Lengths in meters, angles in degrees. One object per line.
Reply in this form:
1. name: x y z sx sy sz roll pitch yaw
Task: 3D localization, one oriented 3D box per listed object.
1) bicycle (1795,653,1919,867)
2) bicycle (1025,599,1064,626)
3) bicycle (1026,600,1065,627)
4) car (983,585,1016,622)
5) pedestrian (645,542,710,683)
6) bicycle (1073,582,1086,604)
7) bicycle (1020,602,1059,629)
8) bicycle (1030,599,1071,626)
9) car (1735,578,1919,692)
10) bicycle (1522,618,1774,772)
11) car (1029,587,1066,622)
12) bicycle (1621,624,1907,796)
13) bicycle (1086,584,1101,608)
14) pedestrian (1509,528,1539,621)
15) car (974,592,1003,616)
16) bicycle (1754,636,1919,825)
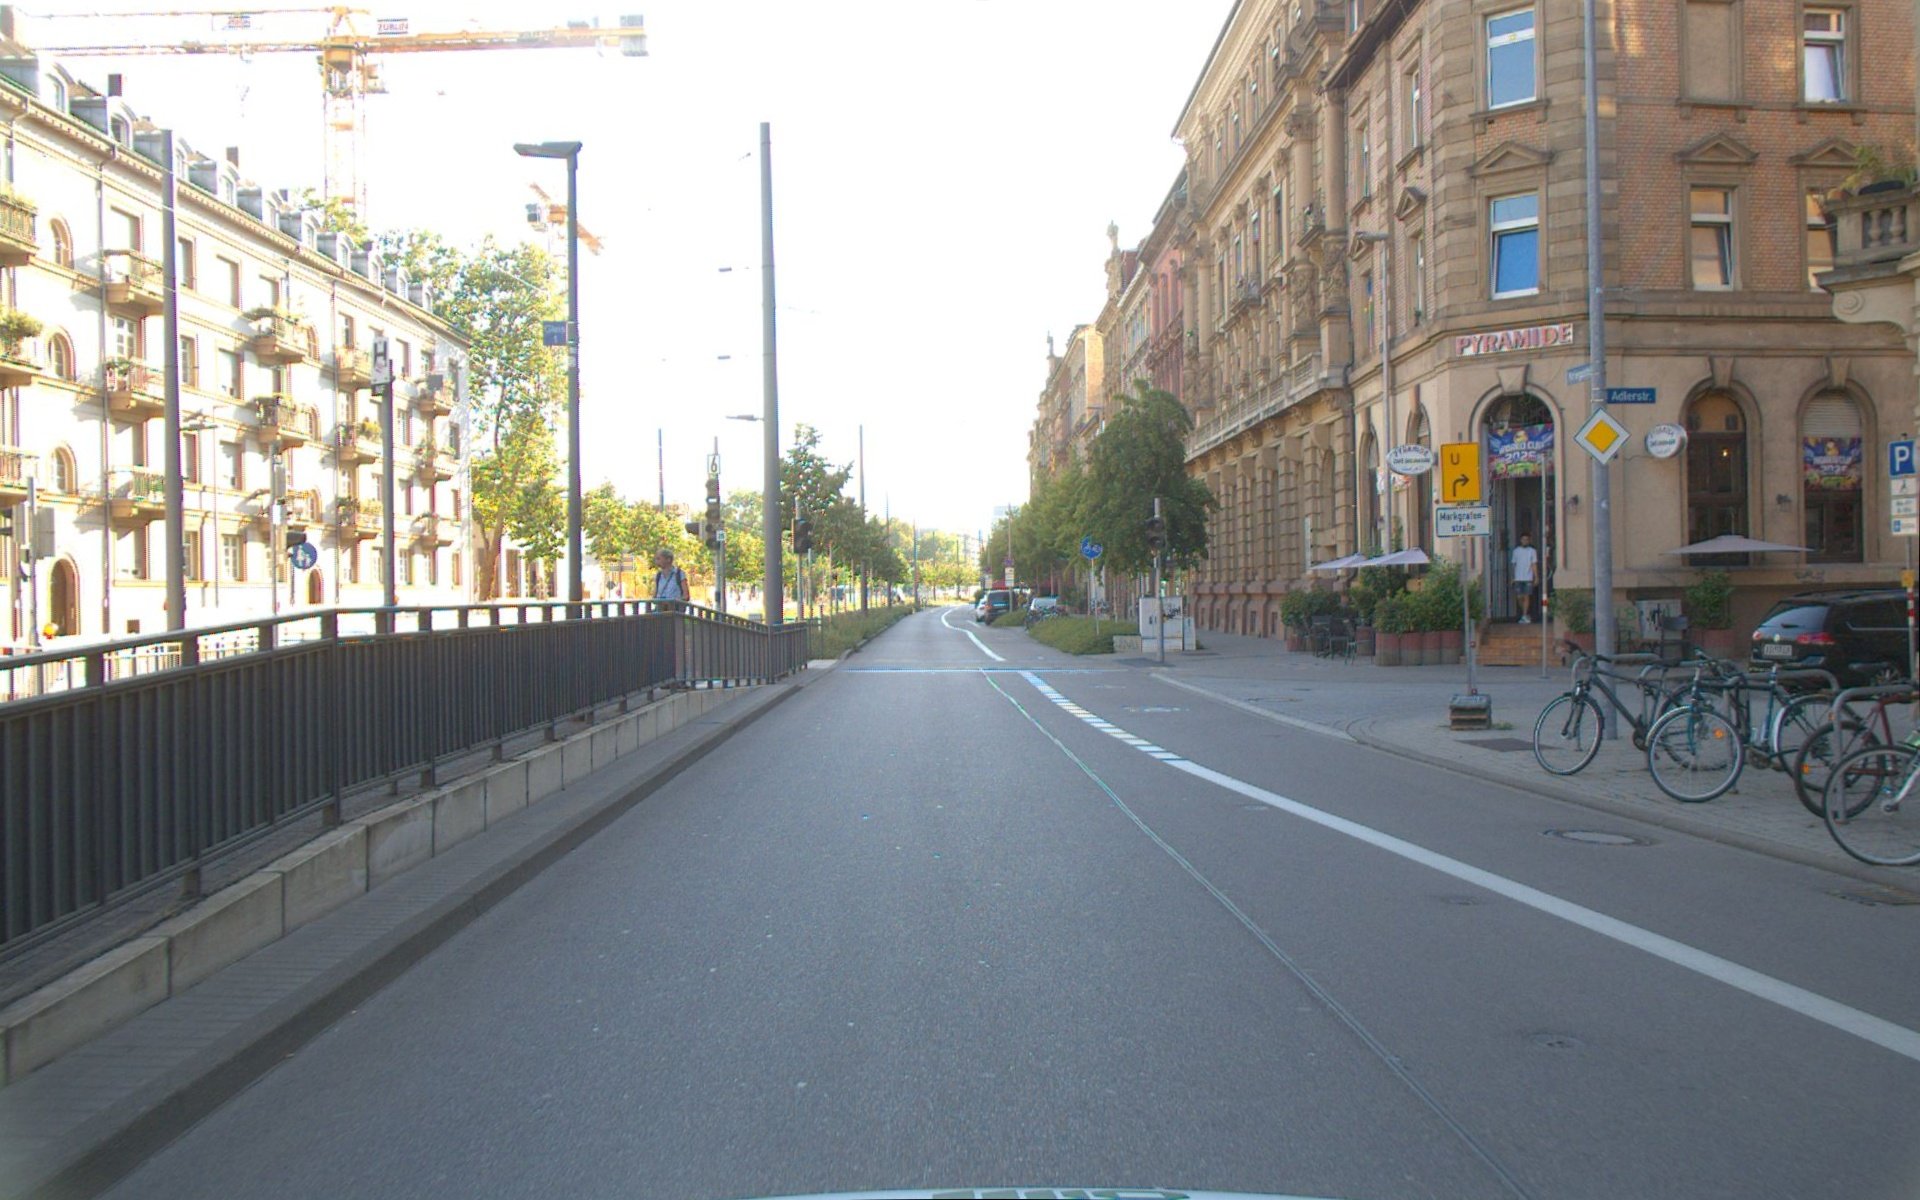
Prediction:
1. bicycle: 5.875 0.857 9.525 1.791 1.083 0.663 -4 1 -6
2. bicycle: 3.659 0.522 71.633 1.547 1.066 0.488 -3 0 -9
3. bicycle: 3.610 0.562 69.804 1.547 1.066 0.488 -3 0 -9
4. car: 2.268 0.172 96.200 1.846 1.971 4.474 -1 1 0
5. pedestrian: -3.435 0.155 20.144 0.641 1.671 0.867 -1 -1 -1
6. bicycle: 8.264 -0.487 114.275 0.647 1.427 2.352 -1 1 -2
7. bicycle: 3.550 0.715 74.097 1.657 1.066 0.489 -5 0 -1
8. bicycle: 3.899 0.527 71.101 1.660 1.066 0.488 -3 0 -9
9. car: 12.823 0.421 22.388 4.069 1.412 1.613 -2 -1 -13
10. bicycle: 5.705 0.771 13.752 1.791 1.083 0.663 -4 1 -6
11. car: 4.181 0.189 79.451 1.603 1.511 4.213 -3 1 1
12. bicycle: 5.950 0.796 12.284 1.791 1.083 0.663 -4 1 -6
13. bicycle: 8.308 -0.247 102.898 0.647 1.427 2.352 -1 1 -2
14. pedestrian: 10.916 -0.492 32.017 0.437 1.771 0.542 -1 0 27
15. car: 1.872 0.250 109.365 1.811 1.483 4.157 -1 1 0
16. bicycle: 6.297 0.816 10.907 1.791 1.083 0.663 -4 1 -6
